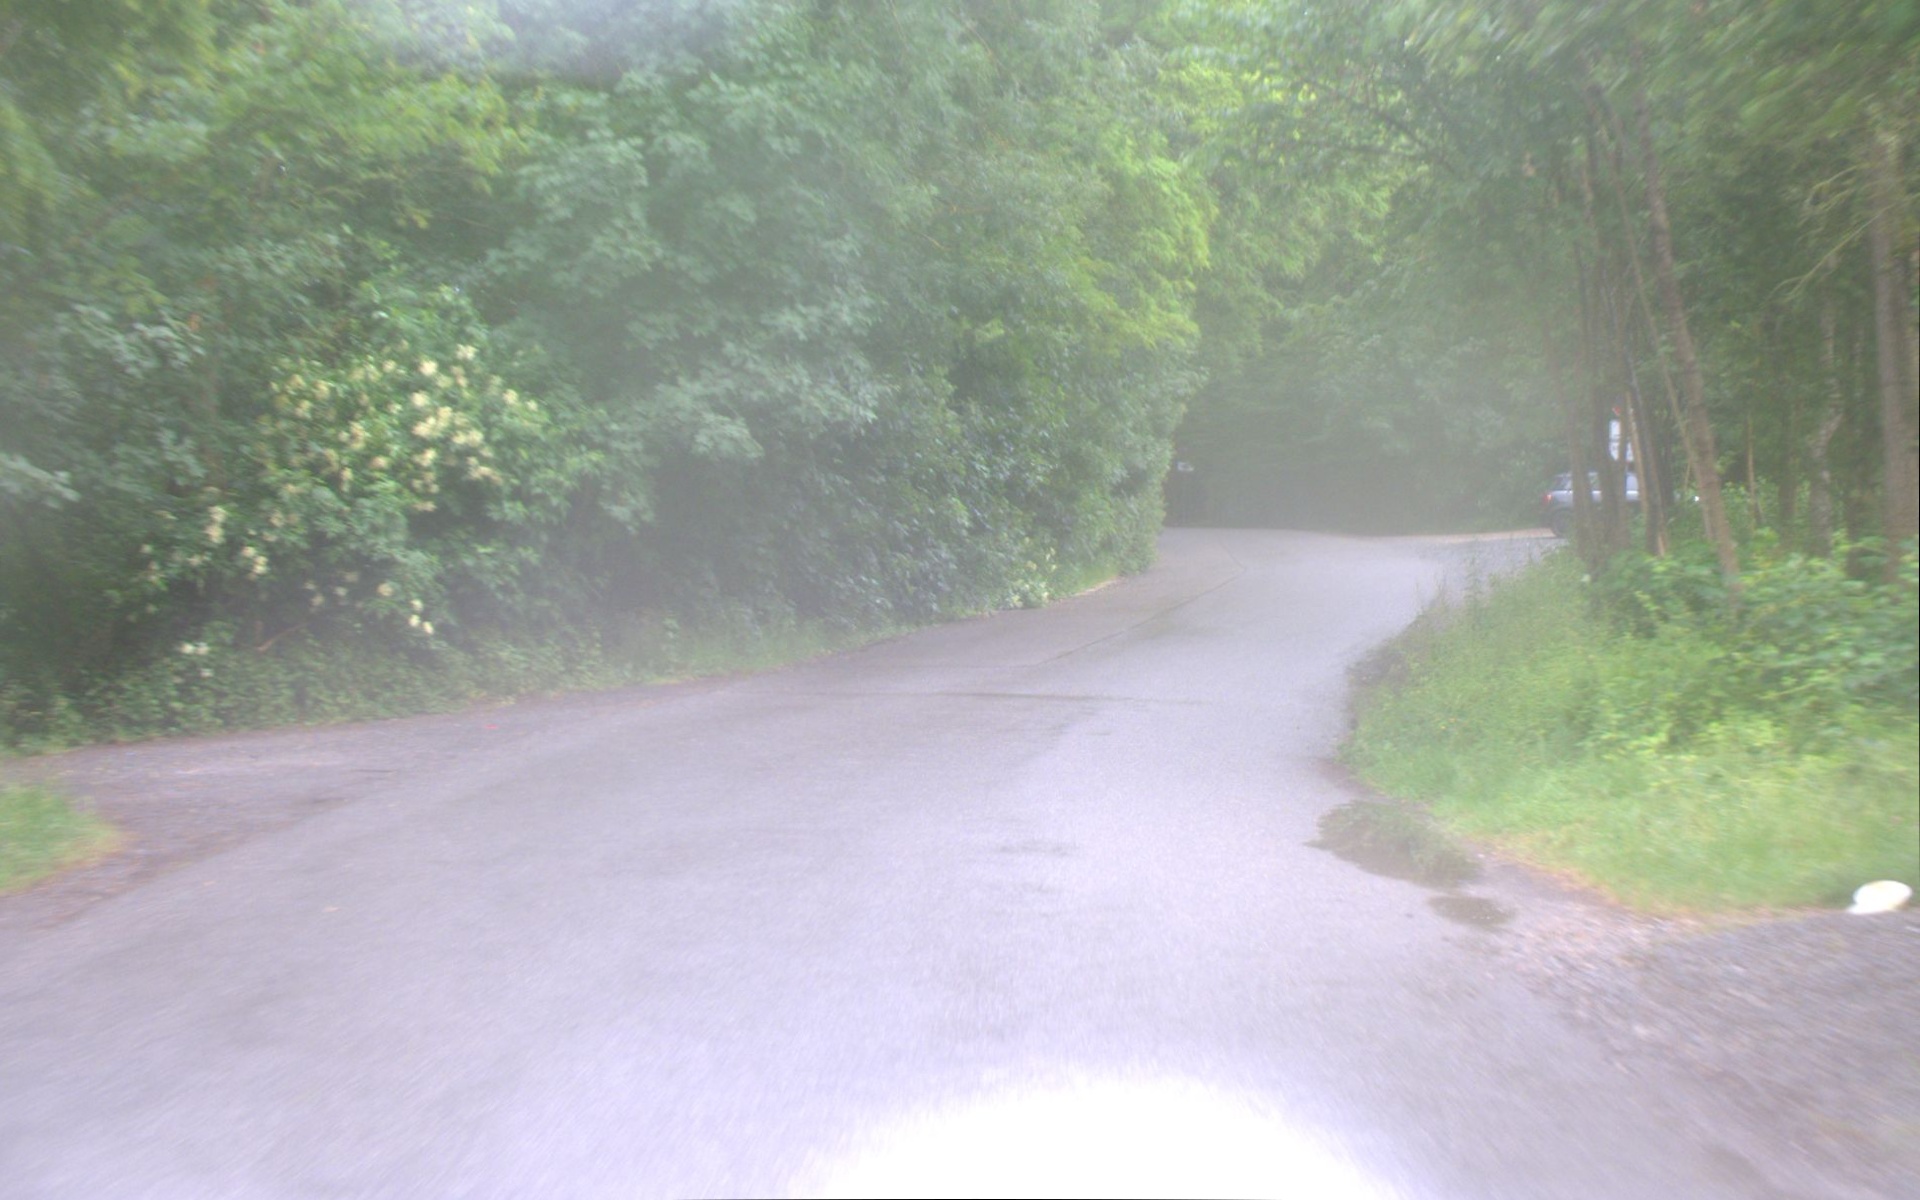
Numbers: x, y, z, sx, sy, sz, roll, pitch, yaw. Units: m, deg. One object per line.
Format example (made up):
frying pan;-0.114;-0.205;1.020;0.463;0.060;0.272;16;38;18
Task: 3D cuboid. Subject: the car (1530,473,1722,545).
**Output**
car;14.416;-1.981;74.614;3.988;1.386;1.999;-2;2;9
